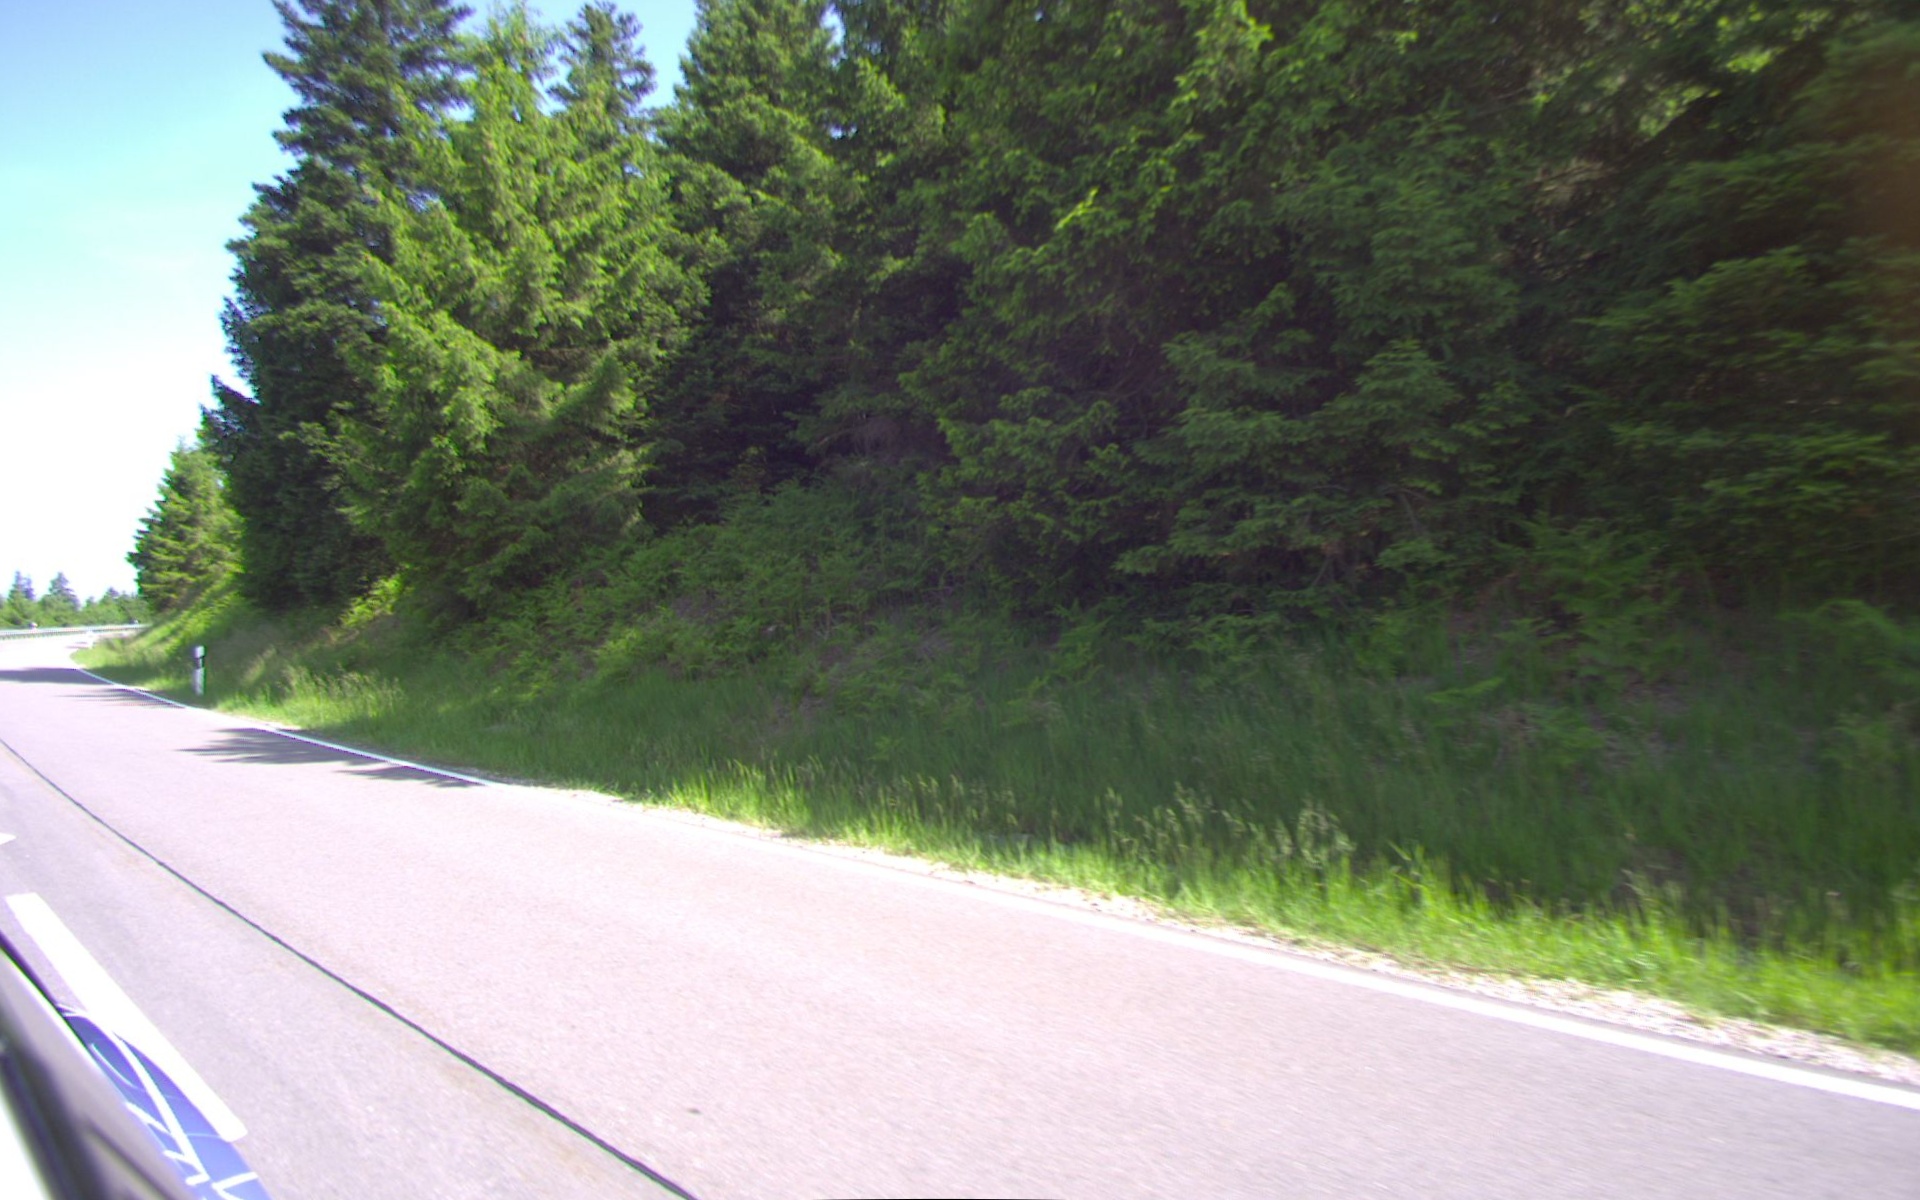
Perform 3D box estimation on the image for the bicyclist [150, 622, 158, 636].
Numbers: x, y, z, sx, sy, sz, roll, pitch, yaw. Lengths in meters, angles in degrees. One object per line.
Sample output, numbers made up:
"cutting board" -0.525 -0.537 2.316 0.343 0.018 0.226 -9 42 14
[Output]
"bicyclist" -86.094 3.061 108.098 0.534 1.462 0.986 2 -2 -35
